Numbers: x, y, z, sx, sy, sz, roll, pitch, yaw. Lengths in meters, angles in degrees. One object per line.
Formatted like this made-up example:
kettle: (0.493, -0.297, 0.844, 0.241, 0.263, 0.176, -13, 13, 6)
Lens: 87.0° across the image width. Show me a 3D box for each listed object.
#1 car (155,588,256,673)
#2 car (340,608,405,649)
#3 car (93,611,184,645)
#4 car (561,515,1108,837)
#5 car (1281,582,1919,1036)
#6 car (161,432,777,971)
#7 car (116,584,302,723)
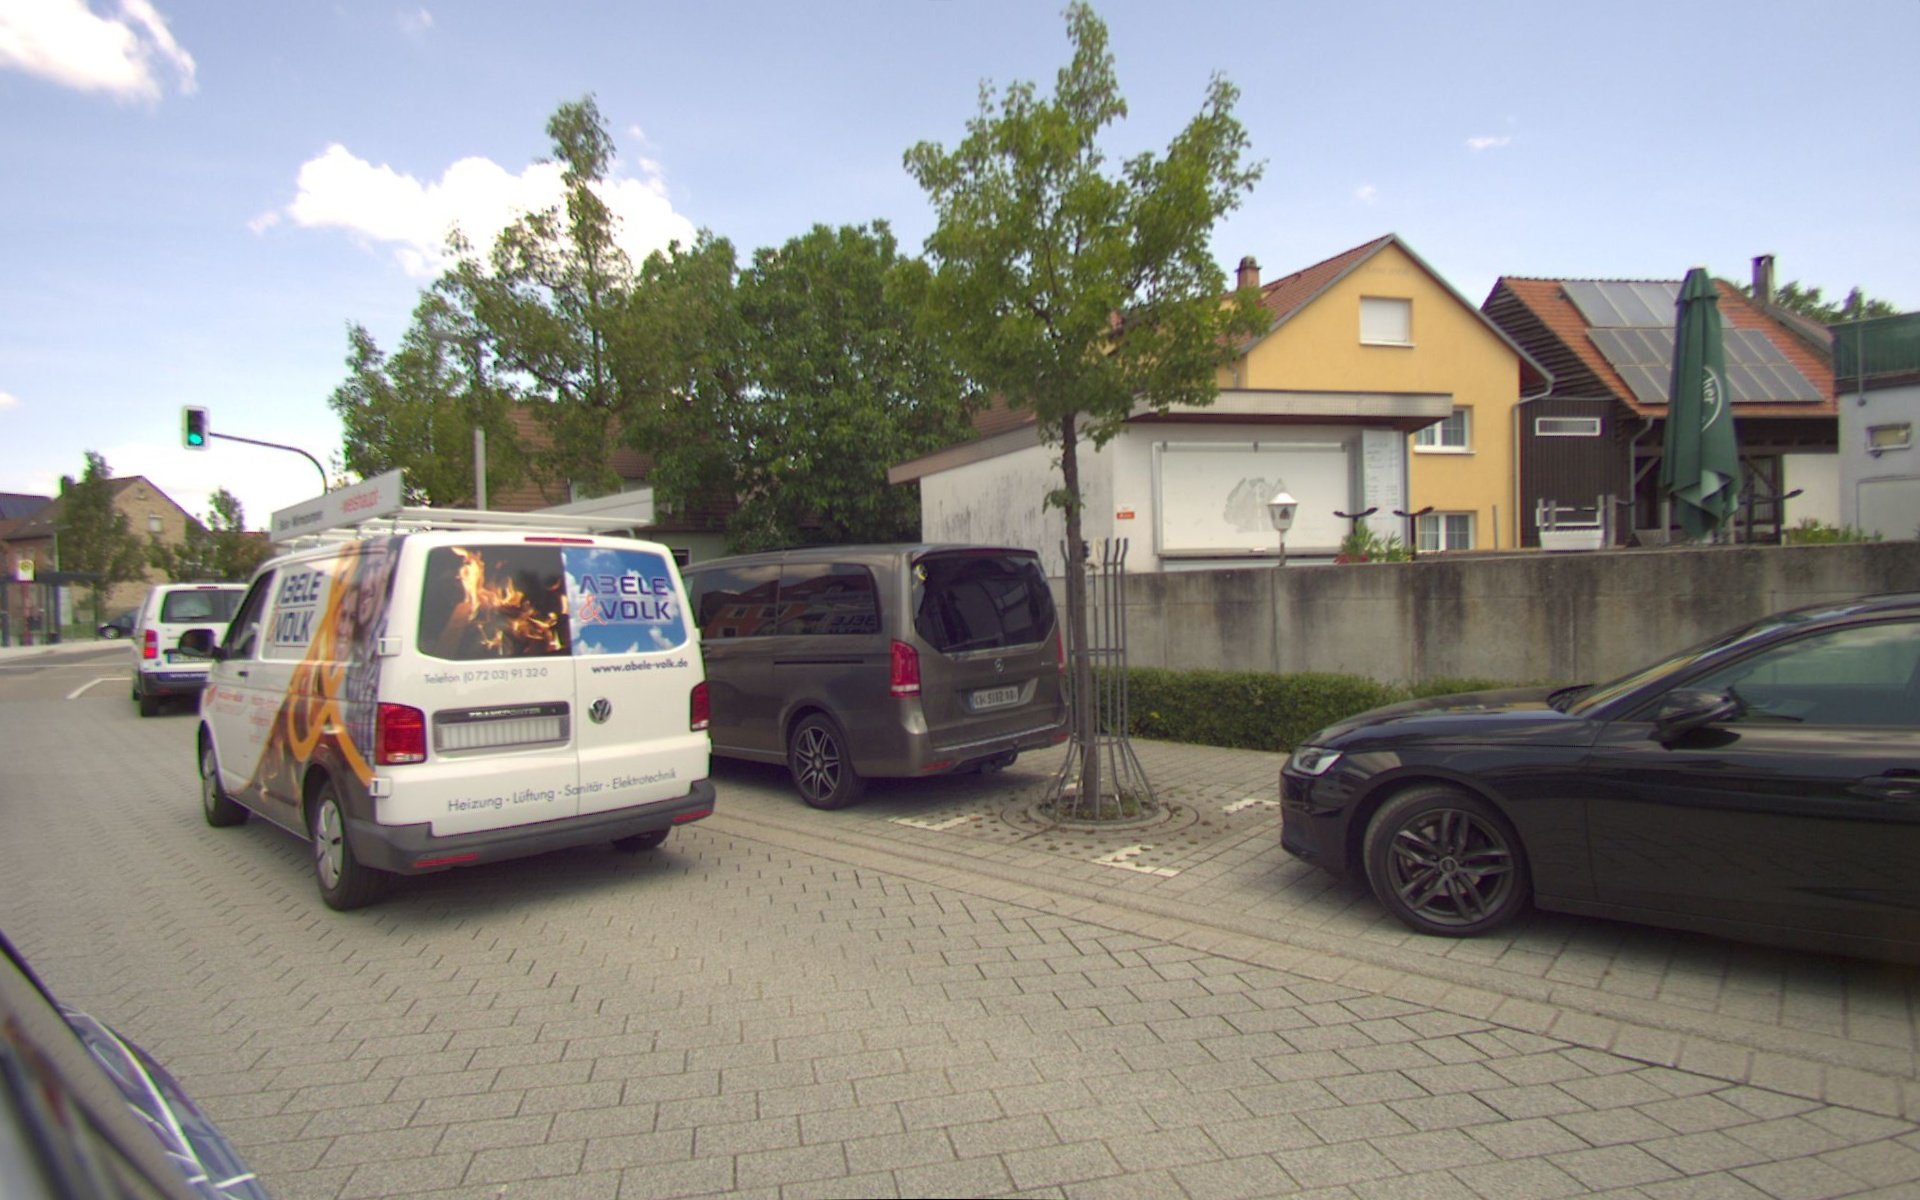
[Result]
car: (-19.997, 0.764, 26.751, 1.968, 2.029, 4.749, -1, -1, -38)
car: (-23.901, 1.113, 41.299, 1.708, 1.502, 4.515, -1, 0, -22)
car: (-43.007, 1.445, 53.074, 3.490, 1.605, 1.671, -2, 0, -34)
car: (-1.376, 0.494, 8.779, 5.046, 2.005, 1.964, -1, 0, 44)
car: (3.762, 0.652, 3.788, 4.535, 1.434, 1.797, -1, 0, 41)
car: (-3.483, 0.438, 6.542, 5.030, 2.202, 1.867, -1, 0, 43)
car: (-12.331, 0.768, 16.470, 1.969, 1.894, 4.872, -1, 0, -42)
